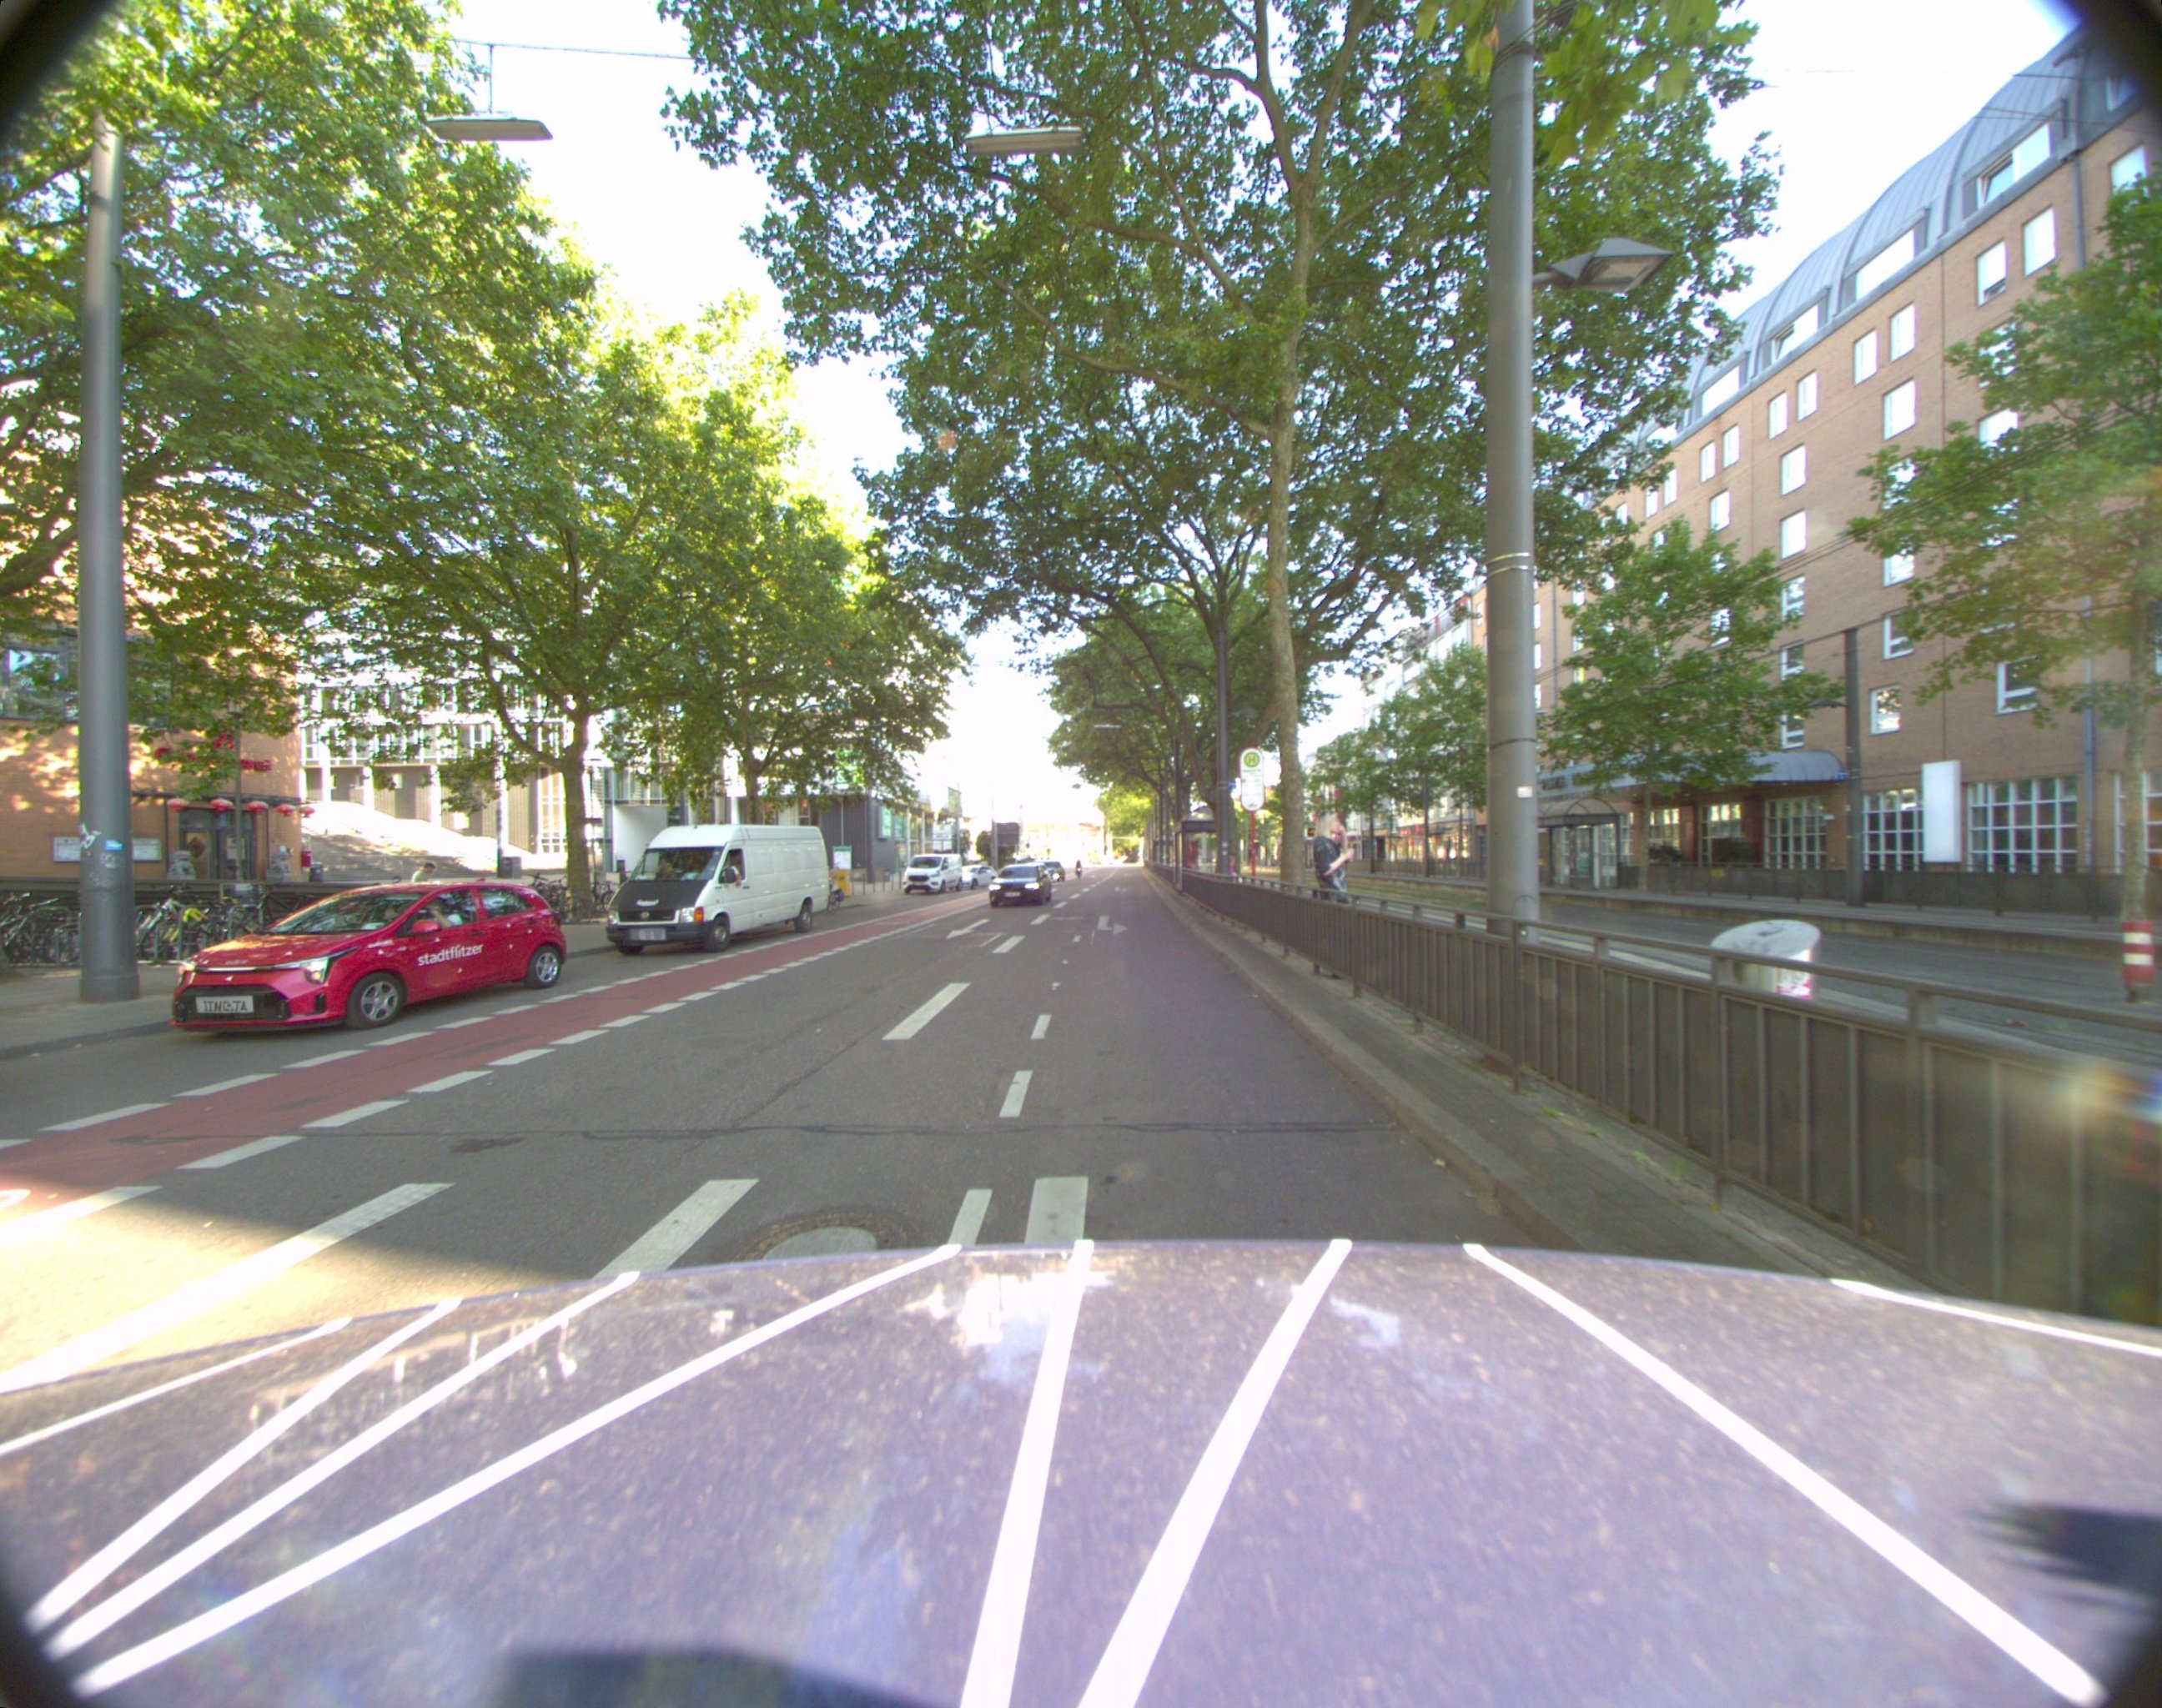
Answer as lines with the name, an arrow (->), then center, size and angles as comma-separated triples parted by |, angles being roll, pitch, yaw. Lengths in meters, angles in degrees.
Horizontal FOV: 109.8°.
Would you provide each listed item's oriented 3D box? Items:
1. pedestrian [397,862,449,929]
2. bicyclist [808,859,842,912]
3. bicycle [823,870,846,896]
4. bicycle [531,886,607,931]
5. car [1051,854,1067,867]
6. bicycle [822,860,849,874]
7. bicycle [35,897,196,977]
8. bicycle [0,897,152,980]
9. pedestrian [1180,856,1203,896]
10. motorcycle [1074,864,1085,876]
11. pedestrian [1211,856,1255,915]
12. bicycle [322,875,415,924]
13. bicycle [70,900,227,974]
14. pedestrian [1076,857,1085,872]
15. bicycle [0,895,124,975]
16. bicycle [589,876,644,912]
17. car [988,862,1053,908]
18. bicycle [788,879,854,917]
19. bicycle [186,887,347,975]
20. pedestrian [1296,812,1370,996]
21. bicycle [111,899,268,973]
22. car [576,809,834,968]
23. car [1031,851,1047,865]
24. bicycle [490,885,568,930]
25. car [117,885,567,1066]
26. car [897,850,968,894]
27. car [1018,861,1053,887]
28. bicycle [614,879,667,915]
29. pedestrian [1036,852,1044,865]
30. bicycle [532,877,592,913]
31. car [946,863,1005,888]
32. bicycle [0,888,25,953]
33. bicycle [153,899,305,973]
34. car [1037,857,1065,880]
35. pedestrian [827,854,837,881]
pedestrian -> -16.246, 1.005, 18.765 | 0.718, 1.622, 0.636 | 0, 1, 7
bicyclist -> -8.305, 1.012, 24.630 | 0.750, 1.678, 0.716 | 0, 1, 32
bicycle -> -11.496, 1.355, 35.473 | 0.514, 1.151, 1.540 | -1, 0, 3
bicycle -> -12.944, 1.357, 19.264 | 0.596, 1.041, 1.656 | 0, 0, 9
car -> -3.175, 0.923, 110.751 | 1.998, 1.681, 3.999 | -2, 1, 1
bicycle -> -18.620, 1.001, 57.634 | 1.879, 1.057, 0.700 | 0, 1, 2
bicycle -> -15.777, 1.316, 12.480 | 0.503, 1.130, 1.655 | 0, 0, 1
bicycle -> -16.312, 1.314, 12.251 | 0.479, 1.153, 1.694 | 0, 0, 5
pedestrian -> 3.966, 0.775, 27.232 | 0.735, 1.379, 0.640 | -2, 1, 6
motorcycle -> -0.115, 1.282, 60.991 | 0.667, 0.843, 2.223 | 0, 0, 4
pedestrian -> 3.783, 0.781, 18.982 | 0.979, 1.392, 0.664 | -2, 1, 6
bicycle -> -17.863, 1.115, 19.102 | 0.596, 1.119, 1.656 | 0, 0, 9
bicycle -> -15.219, 1.317, 12.469 | 0.503, 1.026, 1.655 | 0, 0, 1
pedestrian -> -0.057, 0.831, 60.910 | 0.665, 1.218, 0.775 | 0, 1, 4
bicycle -> -16.852, 1.290, 12.293 | 0.479, 1.153, 1.694 | 0, 0, 5
bicycle -> -14.653, 1.254, 24.008 | 0.597, 1.041, 1.655 | 0, 0, 4
car -> -2.094, 1.076, 27.584 | 1.827, 1.416, 4.346 | -2, 0, 2
bicycle -> -8.370, 1.391, 24.564 | 0.550, 1.114, 2.131 | 0, 0, 32
bicycle -> -13.266, 1.209, 12.468 | 0.597, 1.257, 1.876 | 0, 0, 1
pedestrian -> 2.720, 0.515, 8.247 | 0.511, 1.889, 0.760 | -2, 1, 2
bicycle -> -14.576, 1.306, 12.491 | 0.597, 1.026, 1.655 | 0, 0, 1
car -> -7.608, 0.598, 16.489 | 1.998, 2.708, 6.562 | -2, 0, 2
car -> -6.083, 0.604, 110.246 | 1.999, 1.856, 3.999 | -2, 1, -1
bicycle -> -14.129, 1.354, 19.491 | 0.596, 1.041, 1.656 | 0, 0, 9
car -> -7.972, 1.184, 8.746 | 1.562, 1.455, 3.621 | -2, 0, 1
car -> -7.634, 0.870, 39.714 | 2.127, 2.121, 5.292 | 0, 0, 6
car -> -2.685, 1.182, 45.934 | 1.671, 1.455, 3.869 | 0, 0, 3
bicycle -> -13.868, 1.339, 23.978 | 0.597, 1.041, 1.655 | 0, 0, 4
pedestrian -> -4.984, 0.500, 92.726 | 0.753, 1.565, 0.912 | -1, 1, 6
bicycle -> -16.099, 1.248, 23.616 | 0.597, 1.041, 1.655 | 0, 0, 4
car -> -6.362, 1.262, 46.230 | 1.783, 1.411, 4.028 | 0, 0, 22
bicycle -> -20.018, 1.219, 13.259 | 0.578, 1.153, 1.771 | 0, 0, 7
bicycle -> -13.904, 1.301, 12.471 | 0.597, 1.026, 1.655 | 0, 0, 1
car -> -2.233, 1.027, 57.106 | 1.785, 1.628, 4.022 | 0, 0, 2
pedestrian -> -15.803, 0.836, 48.211 | 0.541, 1.666, 0.721 | -1, 1, -24
